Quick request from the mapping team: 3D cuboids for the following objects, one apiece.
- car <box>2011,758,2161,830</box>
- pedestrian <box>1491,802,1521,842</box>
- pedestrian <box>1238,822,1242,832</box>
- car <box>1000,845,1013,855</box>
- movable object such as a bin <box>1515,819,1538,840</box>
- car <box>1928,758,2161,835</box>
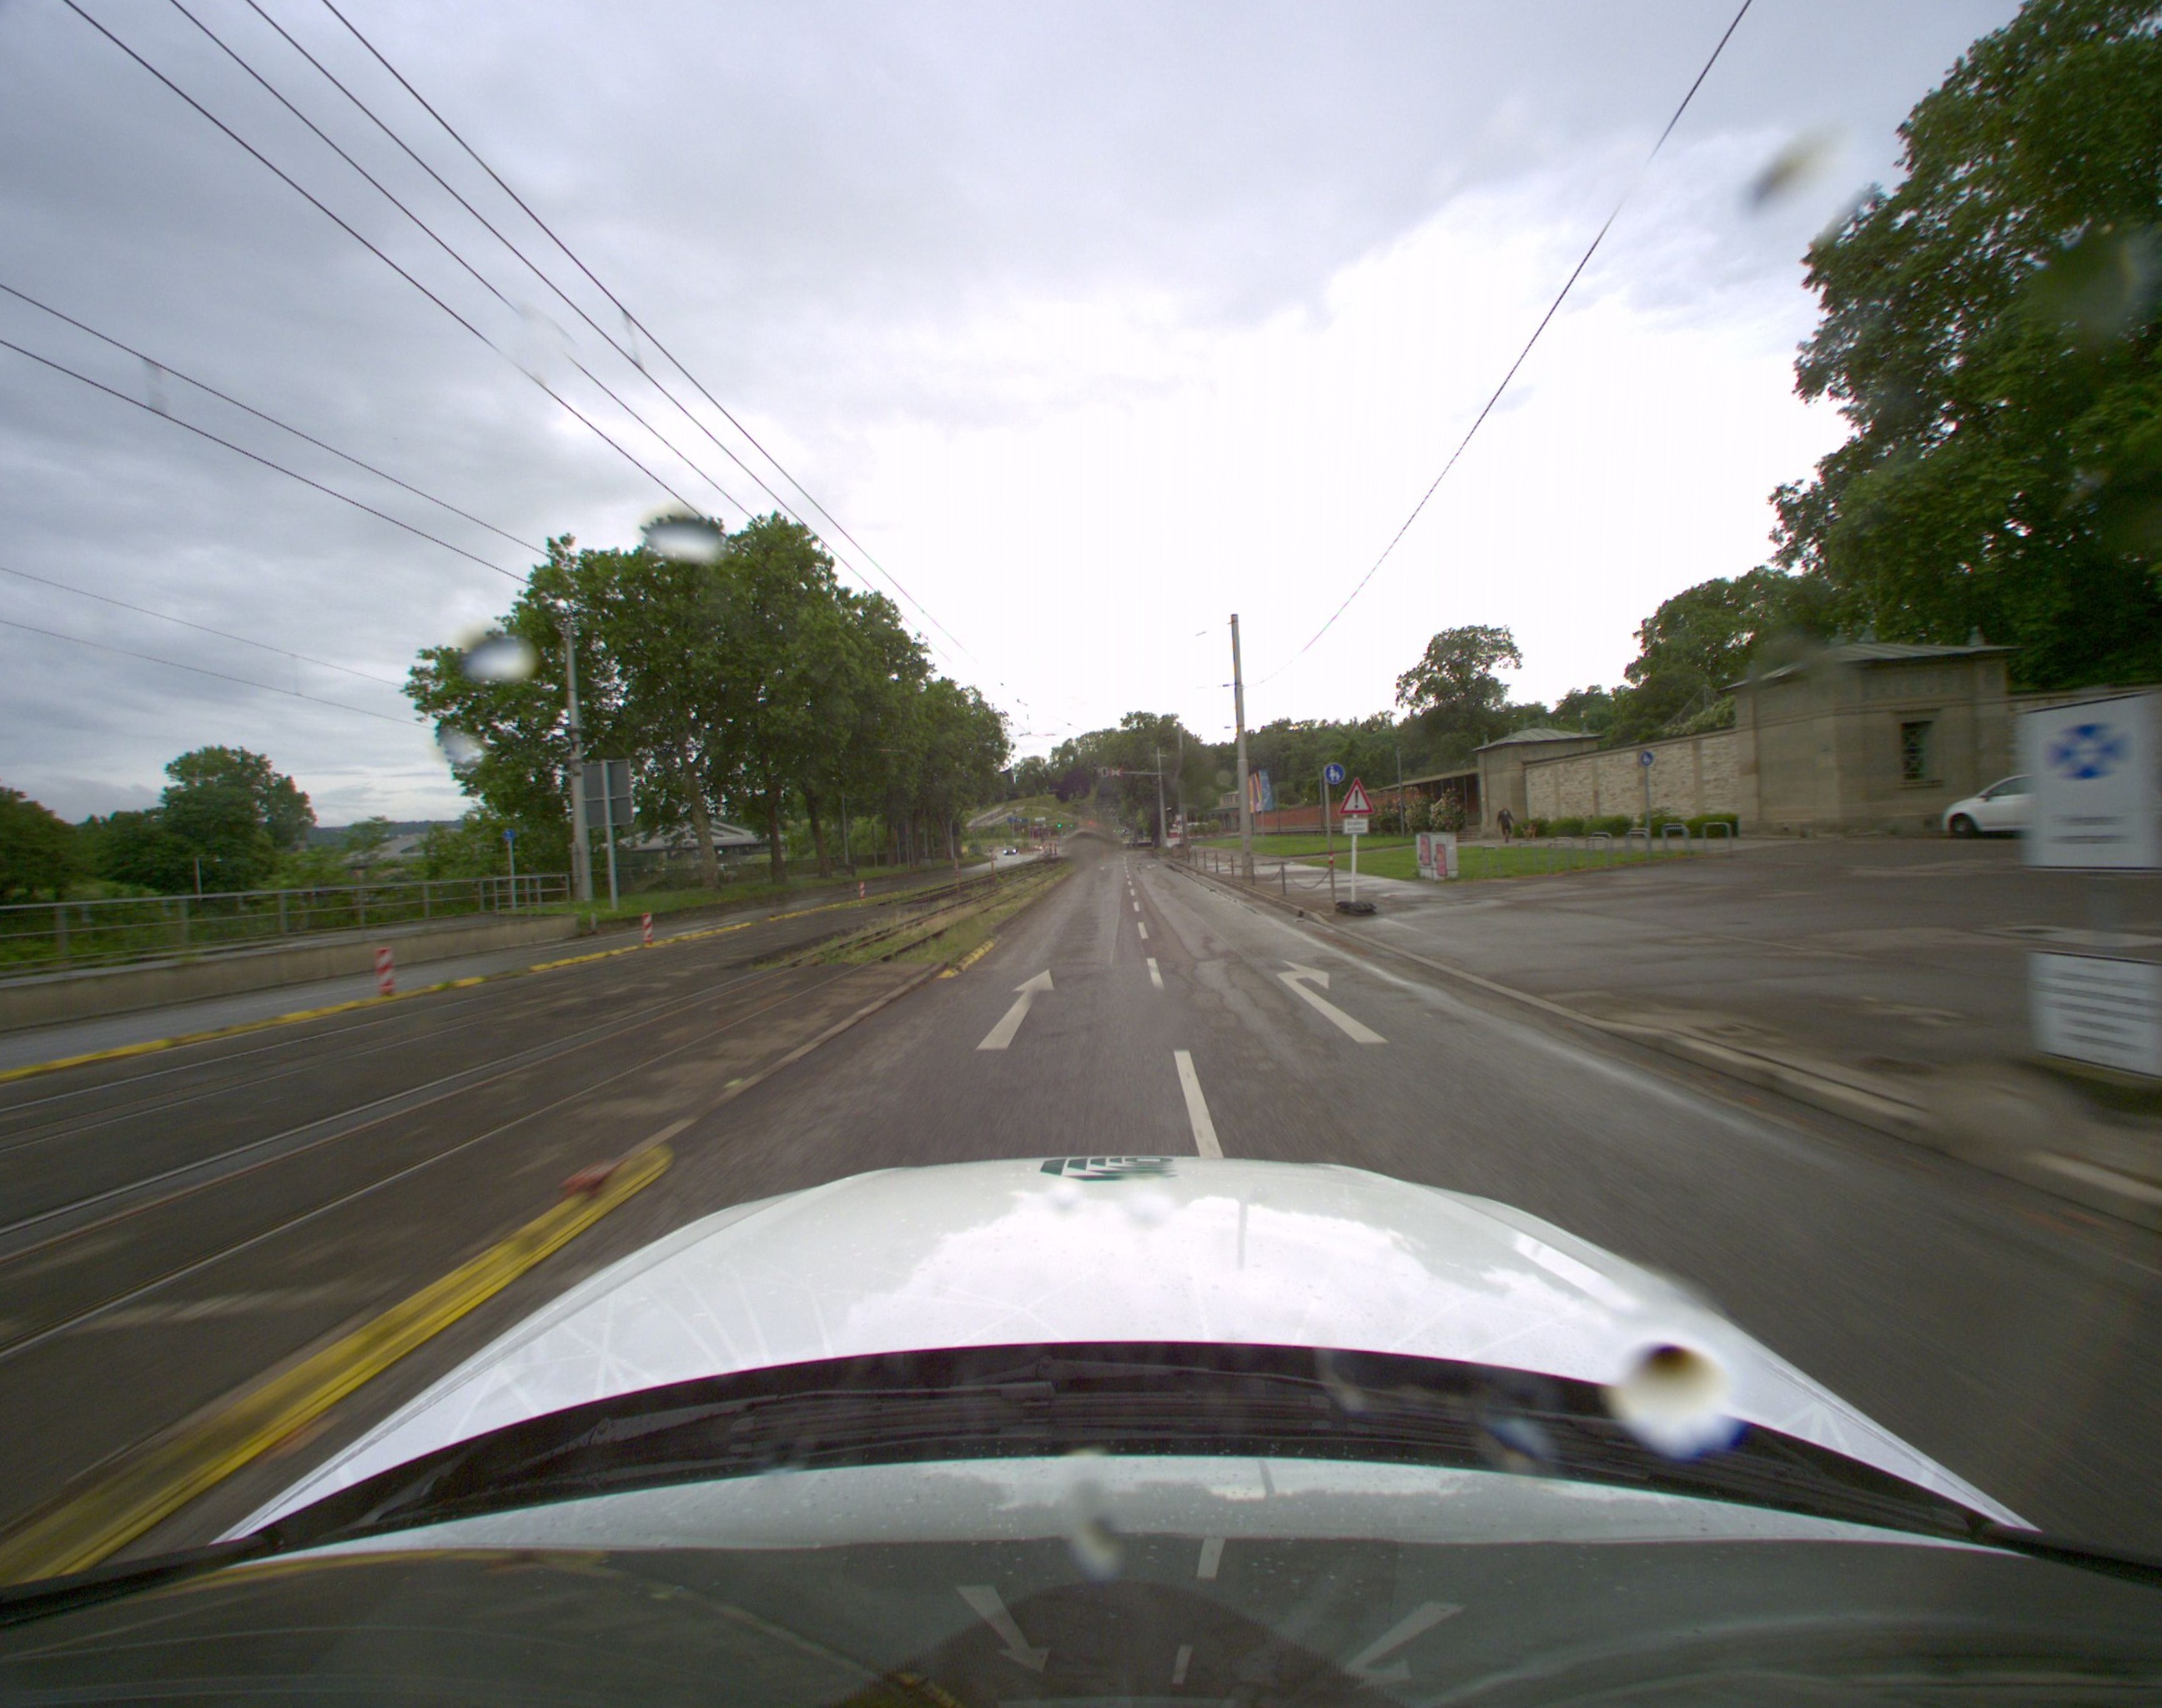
[{"bbox_3d":[24.144,-1.392,18.120,1.894,1.489,4.176,-5,1,-9],"label":"car"},{"bbox_3d":[18.994,-1.434,36.410,0.725,1.710,0.982,-4,0,3],"label":"pedestrian"},{"bbox_3d":[27.807,-4.739,142.597,0.527,1.710,0.698,-2,-1,14],"label":"pedestrian"},{"bbox_3d":[-12.003,-0.585,131.619,1.746,1.429,4.548,-5,1,-8],"label":"car"},{"bbox_3d":[19.563,-1.066,35.762,0.340,0.872,1.193,-4,1,3],"label":"movable object such as a bin"},{"bbox_3d":[21.728,-1.279,18.229,1.830,1.454,3.600,-4,3,2],"label":"car"}]
